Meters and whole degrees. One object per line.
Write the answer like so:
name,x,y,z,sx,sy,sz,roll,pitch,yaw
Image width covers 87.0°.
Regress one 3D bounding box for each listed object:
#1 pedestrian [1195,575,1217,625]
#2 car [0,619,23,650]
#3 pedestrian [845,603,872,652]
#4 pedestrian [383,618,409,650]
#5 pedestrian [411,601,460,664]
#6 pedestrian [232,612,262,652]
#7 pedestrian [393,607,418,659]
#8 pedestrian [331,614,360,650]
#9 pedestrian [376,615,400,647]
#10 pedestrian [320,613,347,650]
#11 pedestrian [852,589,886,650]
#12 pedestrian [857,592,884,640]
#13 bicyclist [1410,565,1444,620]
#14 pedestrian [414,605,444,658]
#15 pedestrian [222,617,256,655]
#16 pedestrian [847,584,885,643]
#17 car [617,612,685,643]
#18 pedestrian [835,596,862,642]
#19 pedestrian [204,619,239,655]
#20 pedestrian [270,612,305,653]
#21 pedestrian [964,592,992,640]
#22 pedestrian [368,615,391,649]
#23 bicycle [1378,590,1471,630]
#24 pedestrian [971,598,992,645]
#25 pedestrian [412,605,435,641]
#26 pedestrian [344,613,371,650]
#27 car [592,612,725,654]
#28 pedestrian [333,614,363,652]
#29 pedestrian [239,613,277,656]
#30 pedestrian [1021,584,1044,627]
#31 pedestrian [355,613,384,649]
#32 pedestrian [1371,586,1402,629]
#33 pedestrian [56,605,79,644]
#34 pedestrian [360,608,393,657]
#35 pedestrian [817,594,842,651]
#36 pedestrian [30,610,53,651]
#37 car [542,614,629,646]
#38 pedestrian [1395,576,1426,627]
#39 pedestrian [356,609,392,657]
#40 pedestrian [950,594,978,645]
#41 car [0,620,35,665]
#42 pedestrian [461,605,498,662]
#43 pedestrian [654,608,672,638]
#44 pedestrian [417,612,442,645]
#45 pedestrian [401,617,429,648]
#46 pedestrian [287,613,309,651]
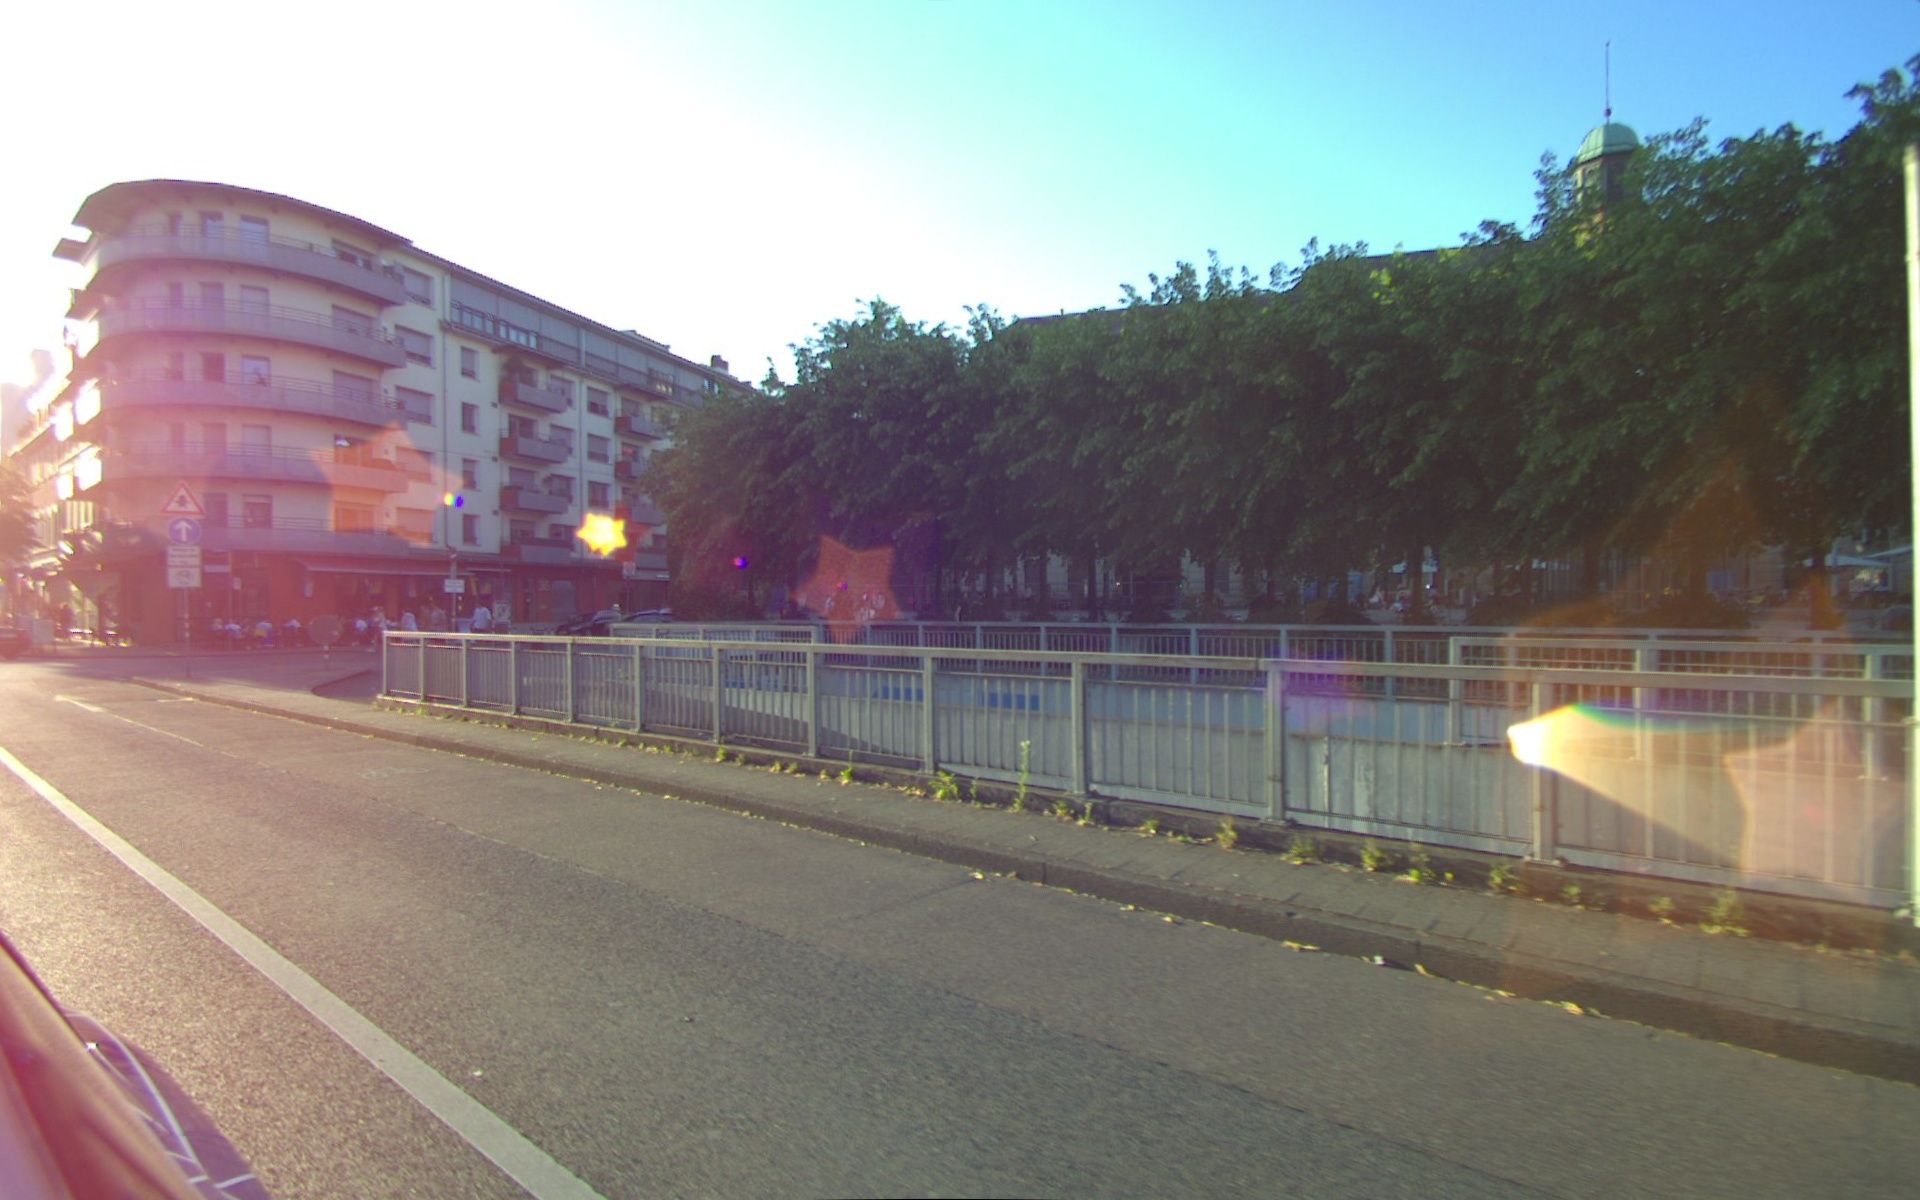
pedestrian,8.745,-0.008,35.992,0.696,1.740,0.916,-1,-1,16
car,-50.375,1.777,51.069,1.816,1.553,4.386,-1,-1,39
pedestrian,-3.160,0.846,31.509,0.704,1.497,0.605,-2,-1,-13
pedestrian,-24.971,1.491,44.812,0.649,1.355,0.746,2,0,15
pedestrian,-16.159,1.006,31.184,0.977,1.898,0.884,-2,-1,19
pedestrian,-28.117,1.254,39.909,0.702,1.547,0.855,-1,-1,-17
pedestrian,-19.862,1.180,36.270,0.702,1.816,0.885,-1,-1,-25
pedestrian,-26.545,1.383,43.739,0.763,1.515,0.779,-1,-1,15
pedestrian,-25.953,1.414,45.894,0.708,1.432,0.599,-2,-1,17
pedestrian,-26.636,1.333,43.041,0.669,1.547,0.651,2,0,15
pedestrian,-2.910,0.623,32.229,0.768,1.889,0.716,-1,-2,-34
pedestrian,-3.489,0.628,39.590,0.696,1.833,1.117,-1,-1,16
bicyclist,13.373,-0.212,28.985,0.747,1.521,1.372,-1,-1,20
pedestrian,-19.435,1.163,37.033,0.838,1.891,0.716,-1,-2,-38
pedestrian,-27.203,1.348,38.177,0.758,1.392,0.841,0,0,-8
pedestrian,-3.074,0.446,33.161,0.883,1.867,0.979,-2,-1,19
car,-18.253,1.604,59.977,1.869,1.712,4.114,-2,-1,17
pedestrian,-4.400,0.742,40.015,0.756,1.795,0.793,-1,0,19
pedestrian,-27.980,1.404,38.346,0.675,1.291,0.970,-1,1,-8
pedestrian,-26.506,1.277,39.890,0.709,1.547,0.848,3,1,19
pedestrian,0.591,0.530,33.121,0.668,1.554,0.594,-1,-2,-35
pedestrian,-25.783,1.418,44.981,0.661,1.445,0.558,1,-1,15
bicycle,13.284,0.285,29.026,2.311,1.110,0.945,-1,-1,20
pedestrian,0.824,0.810,38.383,0.617,1.740,0.799,-1,-1,16
pedestrian,-26.376,1.112,49.749,0.712,1.734,0.665,-1,-1,16
pedestrian,-25.891,1.336,43.488,0.644,1.539,0.697,3,0,13
car,-11.453,1.240,38.537,4.403,1.441,2.099,-2,-1,12
pedestrian,-25.786,1.376,42.637,0.707,1.547,0.756,3,0,13
pedestrian,-27.208,1.328,39.241,0.712,1.546,0.682,-1,-14,33
pedestrian,3.499,0.273,48.645,0.827,2.029,1.059,-1,0,20
pedestrian,-25.858,1.351,44.322,0.845,1.547,0.676,-2,-1,14
pedestrian,14.199,0.246,33.739,0.730,1.390,1.262,-1,-1,13
pedestrian,-44.647,1.216,50.616,0.803,1.963,0.722,-1,-1,36
pedestrian,-22.014,1.220,38.200,0.806,1.807,0.732,-2,-1,19
pedestrian,-4.125,0.704,31.924,0.676,1.759,0.717,-2,-1,-12
pedestrian,-45.117,1.498,49.709,0.739,1.963,0.722,-1,-1,36
car,-19.997,1.558,54.198,1.865,1.564,4.601,-2,-1,19
pedestrian,14.903,0.059,33.514,0.701,1.660,1.262,-1,-1,14
pedestrian,-22.552,1.276,38.954,0.845,1.807,0.863,-2,-1,19
pedestrian,0.124,0.645,32.630,0.786,1.594,0.731,-2,-2,-6
car,-32.953,1.374,32.926,4.565,1.418,1.805,0,0,9
pedestrian,-15.680,1.089,33.058,0.968,1.807,0.893,-1,-1,-18
pedestrian,-18.643,1.448,63.591,0.991,1.841,0.948,-2,-1,-11
pedestrian,-25.111,1.350,47.900,0.840,1.547,0.715,-2,-1,-5
pedestrian,-24.710,1.465,45.891,0.877,1.315,0.842,1,0,37
pedestrian,-27.262,1.313,41.672,0.638,1.547,0.754,-1,-2,-40
